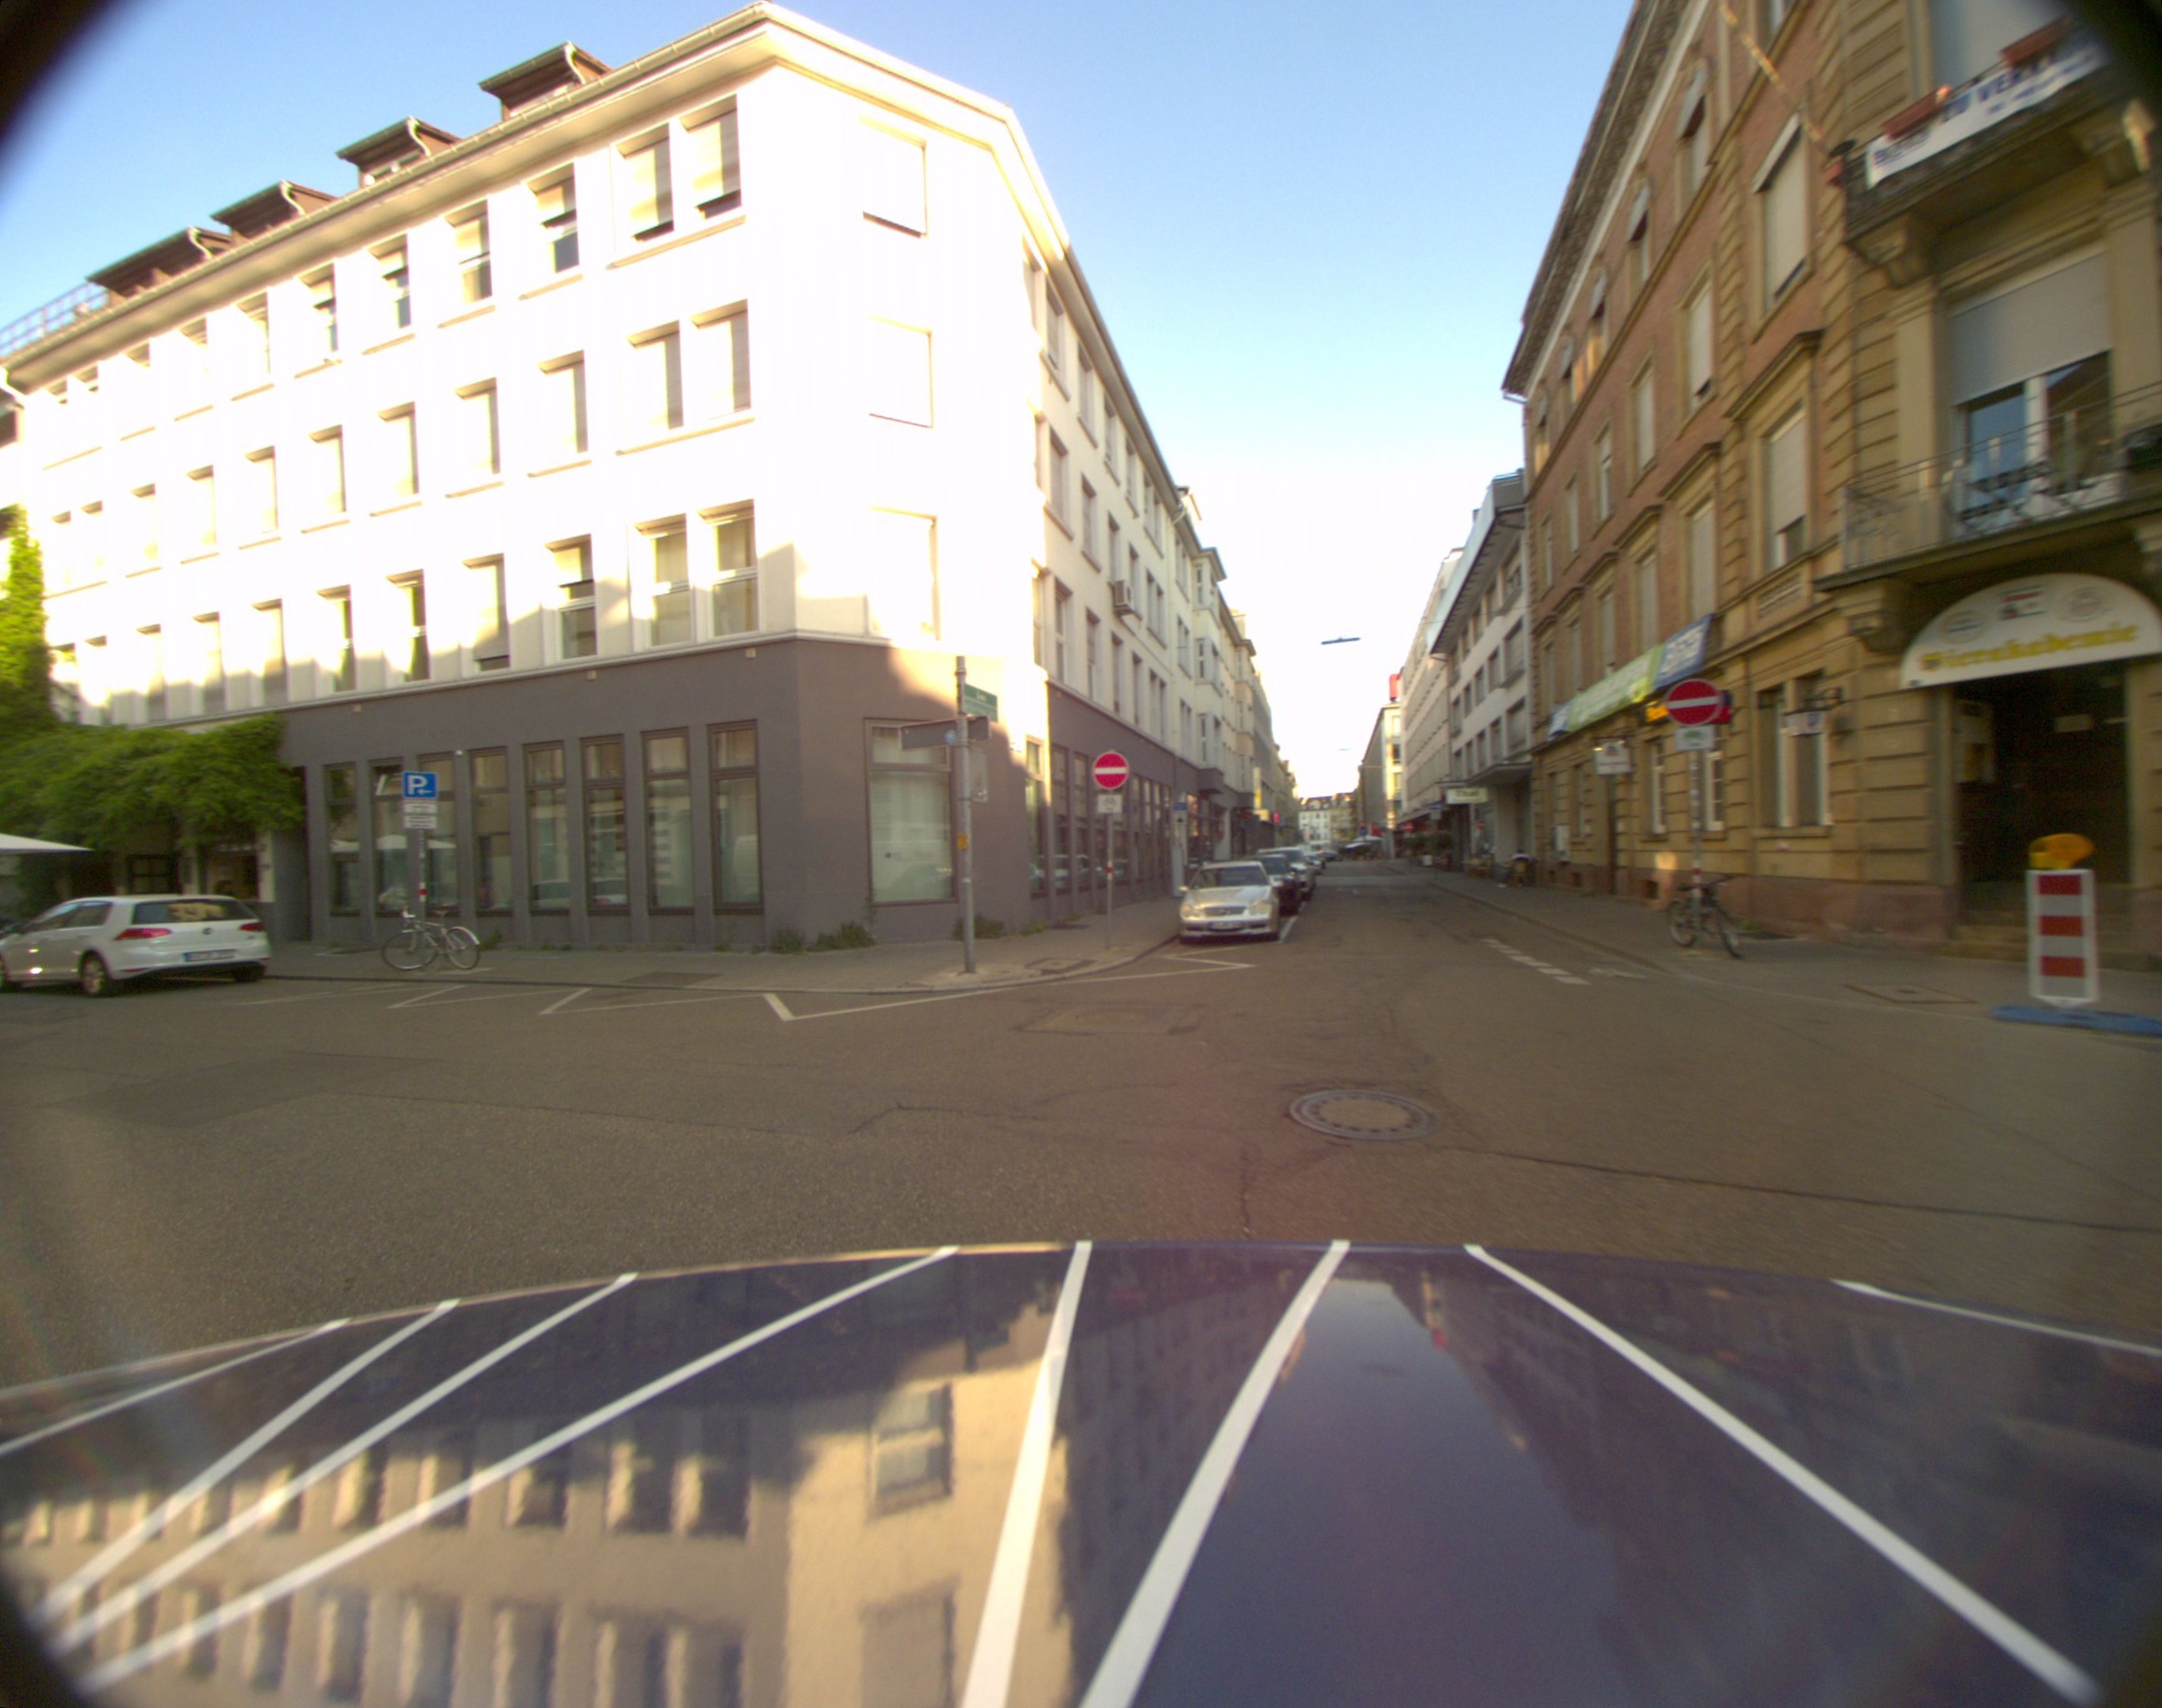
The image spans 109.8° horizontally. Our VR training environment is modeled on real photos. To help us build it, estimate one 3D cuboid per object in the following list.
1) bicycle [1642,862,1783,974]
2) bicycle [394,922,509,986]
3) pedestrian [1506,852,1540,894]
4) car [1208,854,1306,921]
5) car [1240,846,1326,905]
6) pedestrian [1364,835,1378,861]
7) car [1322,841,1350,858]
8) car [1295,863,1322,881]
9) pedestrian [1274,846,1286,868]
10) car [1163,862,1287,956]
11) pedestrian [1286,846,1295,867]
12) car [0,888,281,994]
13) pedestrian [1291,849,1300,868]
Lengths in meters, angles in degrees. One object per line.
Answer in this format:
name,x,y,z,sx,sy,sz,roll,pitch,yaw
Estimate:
bicycle,8.144,0.780,9.900,0.659,1.267,1.765,-5,-1,15
bicycle,-9.855,1.537,11.890,1.640,0.900,0.599,-2,0,19
pedestrian,14.662,0.632,25.186,0.836,1.332,0.807,-1,1,39
car,4.668,0.789,19.672,2.010,1.515,4.123,-2,0,19
car,6.753,0.647,25.038,2.332,1.734,4.494,-2,0,19
pedestrian,29.793,-0.634,77.990,1.245,2.599,1.469,-2,1,18
car,31.419,-0.578,93.665,1.999,2.002,3.999,-2,1,-2
car,15.031,1.173,50.106,1.512,1.053,3.472,-2,0,19
pedestrian,19.197,0.289,73.344,1.030,2.162,0.886,-1,0,12
car,2.885,0.925,14.383,1.753,1.393,4.494,-3,-1,17
pedestrian,20.521,0.230,74.358,0.725,2.078,0.805,-1,0,12
car,-14.887,1.288,11.923,3.874,1.405,1.665,-1,0,18
pedestrian,20.559,0.447,72.745,0.710,1.751,0.886,-1,0,12
